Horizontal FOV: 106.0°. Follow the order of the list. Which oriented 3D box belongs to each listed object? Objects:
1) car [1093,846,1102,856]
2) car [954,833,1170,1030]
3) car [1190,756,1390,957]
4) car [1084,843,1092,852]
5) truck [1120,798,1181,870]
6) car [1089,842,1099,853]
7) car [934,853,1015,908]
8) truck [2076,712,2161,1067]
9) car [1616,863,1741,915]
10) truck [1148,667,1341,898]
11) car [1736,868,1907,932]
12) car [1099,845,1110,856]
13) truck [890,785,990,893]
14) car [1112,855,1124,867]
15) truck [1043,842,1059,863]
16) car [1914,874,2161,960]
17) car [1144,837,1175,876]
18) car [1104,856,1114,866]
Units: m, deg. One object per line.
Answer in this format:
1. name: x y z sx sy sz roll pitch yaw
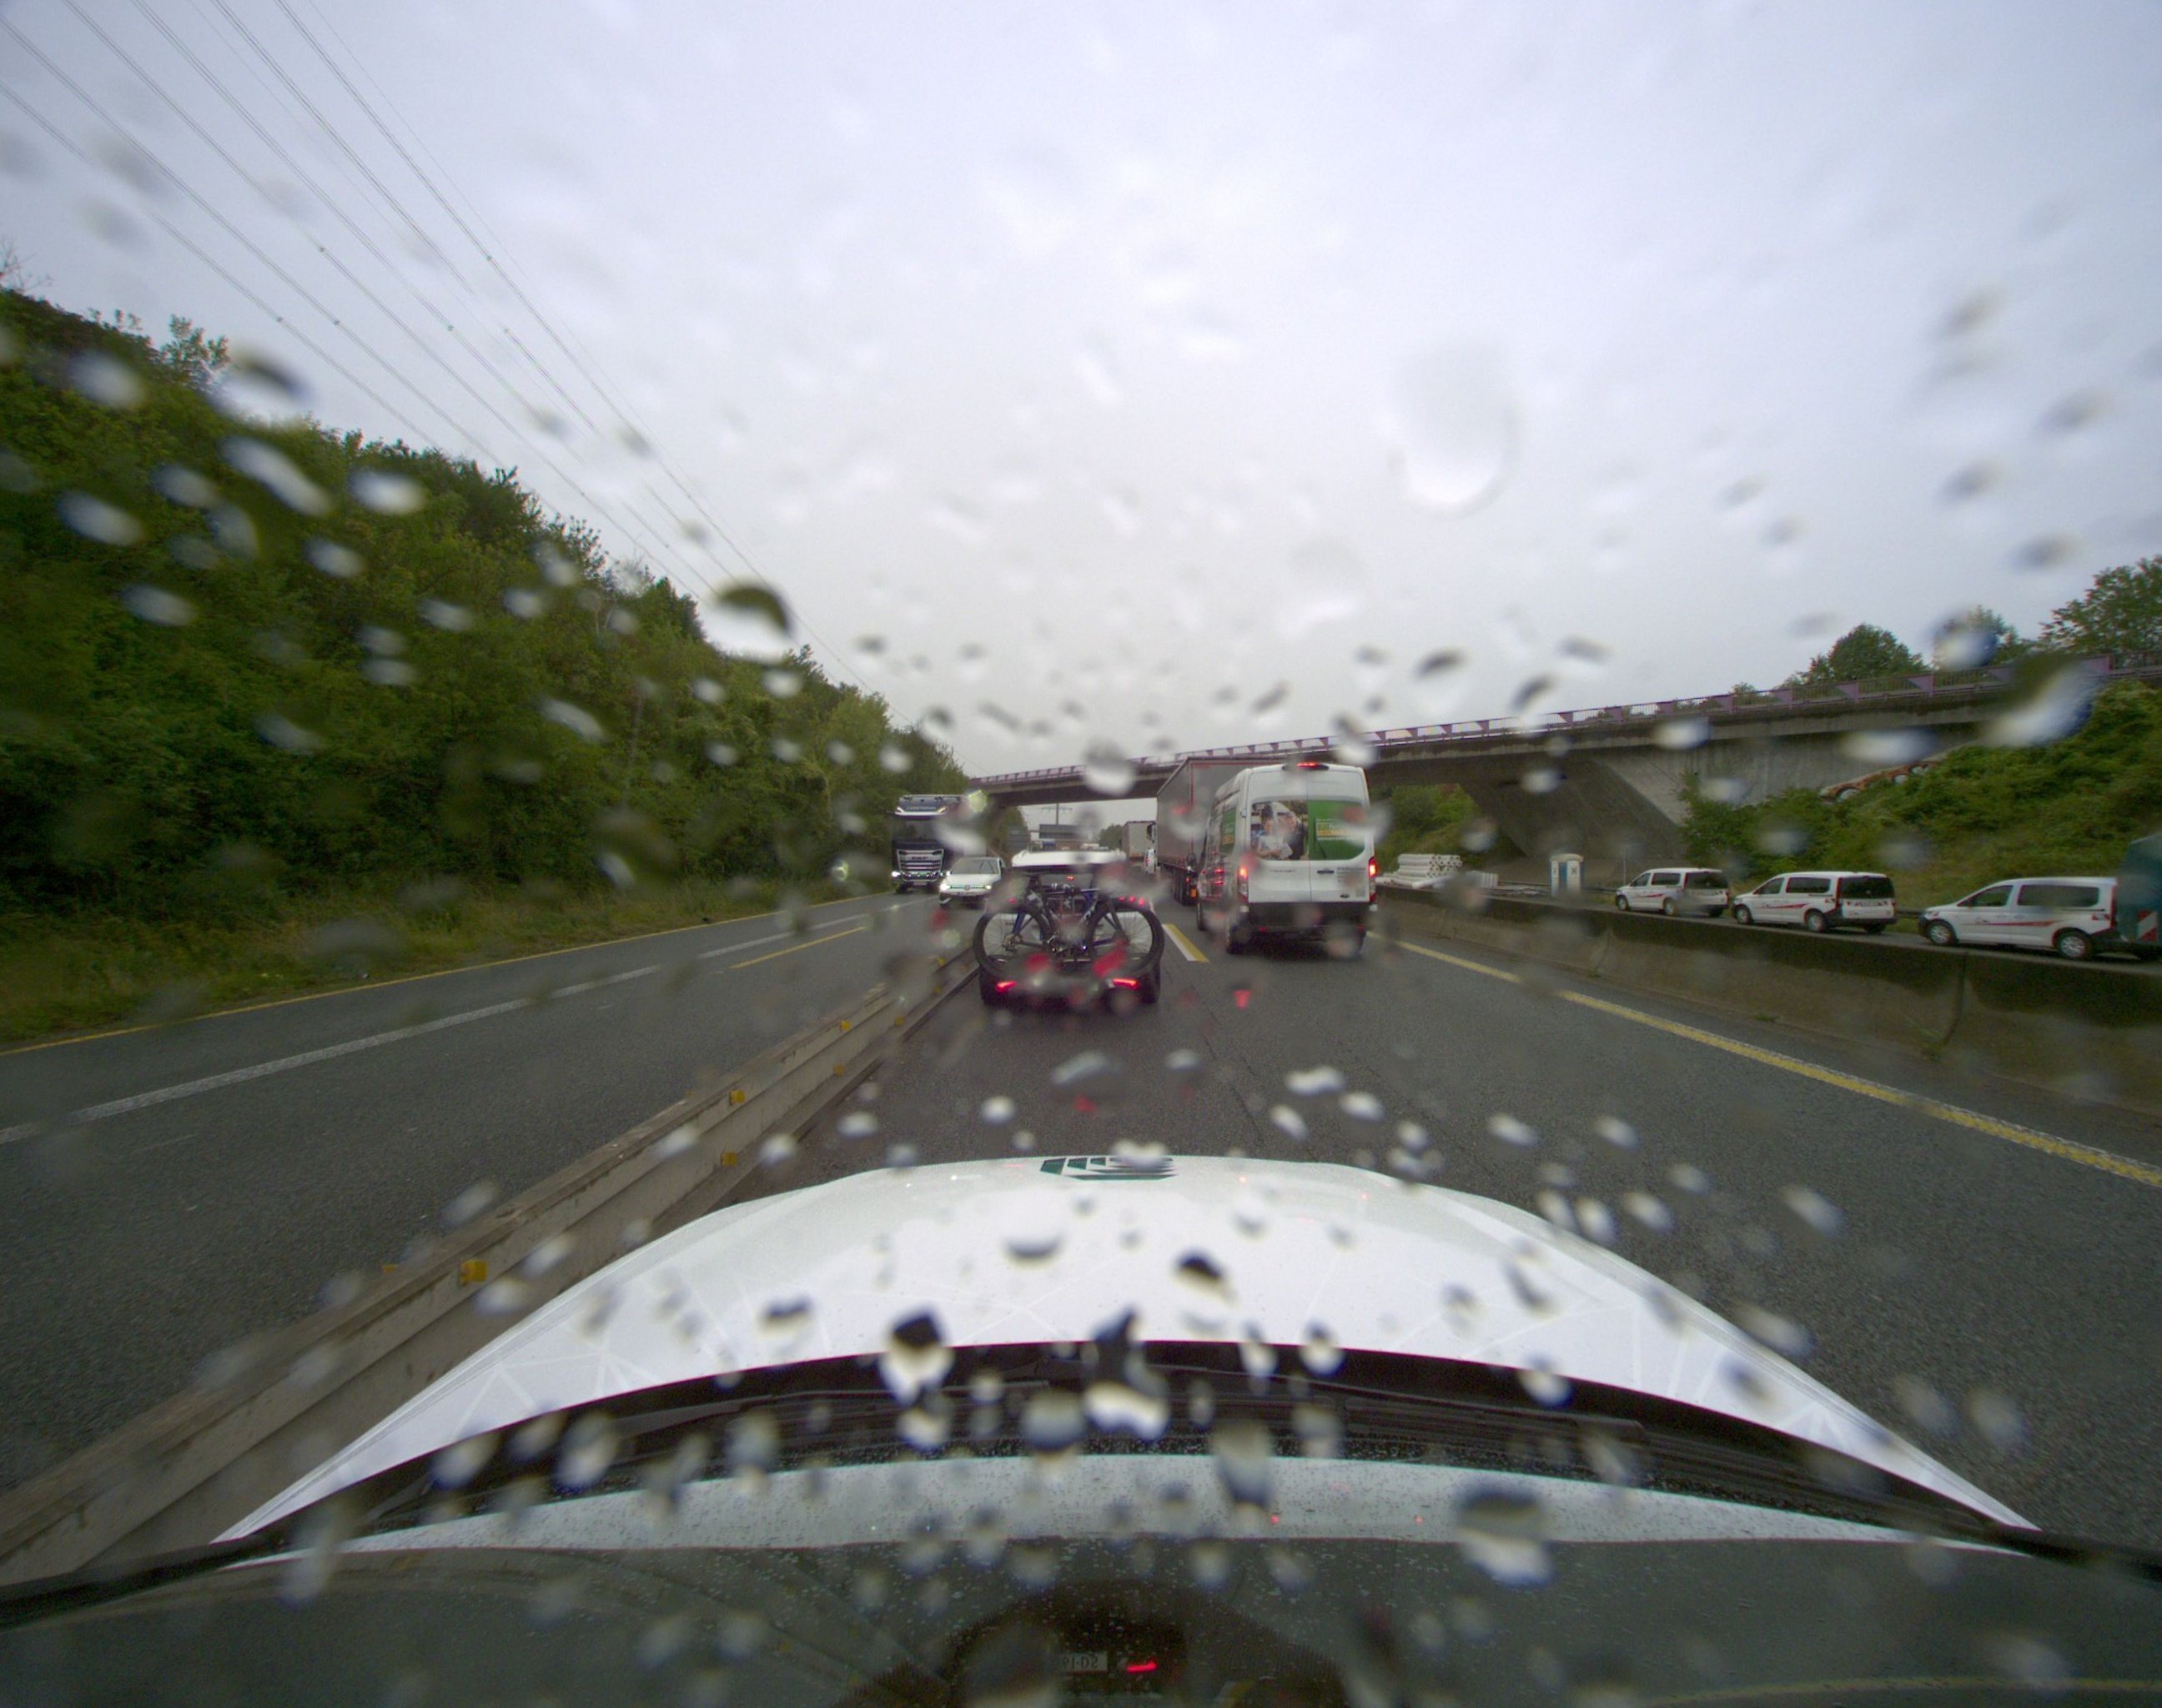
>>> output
1. car: 3.575 -0.596 176.255 1.985 2.014 4.002 0 0 2
2. car: -0.018 0.668 9.129 1.802 1.637 4.640 0 0 4
3. car: 3.212 0.059 13.984 2.135 2.676 6.121 0 0 3
4. car: 1.801 -1.773 221.747 1.985 2.126 4.529 0 0 2
5. truck: 6.155 -1.516 74.567 4.722 5.673 20.394 0 0 4
6. car: 3.072 -1.473 189.050 2.230 2.307 4.574 0 0 2
7. car: -3.096 0.733 24.349 1.932 1.494 3.998 0 0 -1
8. truck: 10.630 0.283 3.206 2.511 3.131 9.123 0 0 2
9. car: 22.823 1.288 31.334 1.840 1.808 4.158 0 0 1
10. truck: 4.884 -1.699 30.354 3.964 5.673 20.388 0 0 3
11. car: 22.541 1.332 25.036 1.721 1.745 4.129 -1 0 4
12. car: 4.458 -0.591 155.040 1.986 2.014 4.002 0 0 2
13. truck: -5.990 -0.544 36.310 2.455 4.123 10.090 0 0 1
14. car: 4.910 0.960 108.224 1.632 1.497 3.668 0 0 2
15. truck: -5.739 -0.252 158.729 2.455 4.123 10.090 0 0 1
16. car: 22.426 1.371 19.088 1.721 1.725 4.128 0 0 4
17. car: 4.585 0.165 48.200 1.663 2.180 4.539 0 0 4
18. car: 4.589 1.140 134.864 1.632 1.497 3.668 0 0 2
